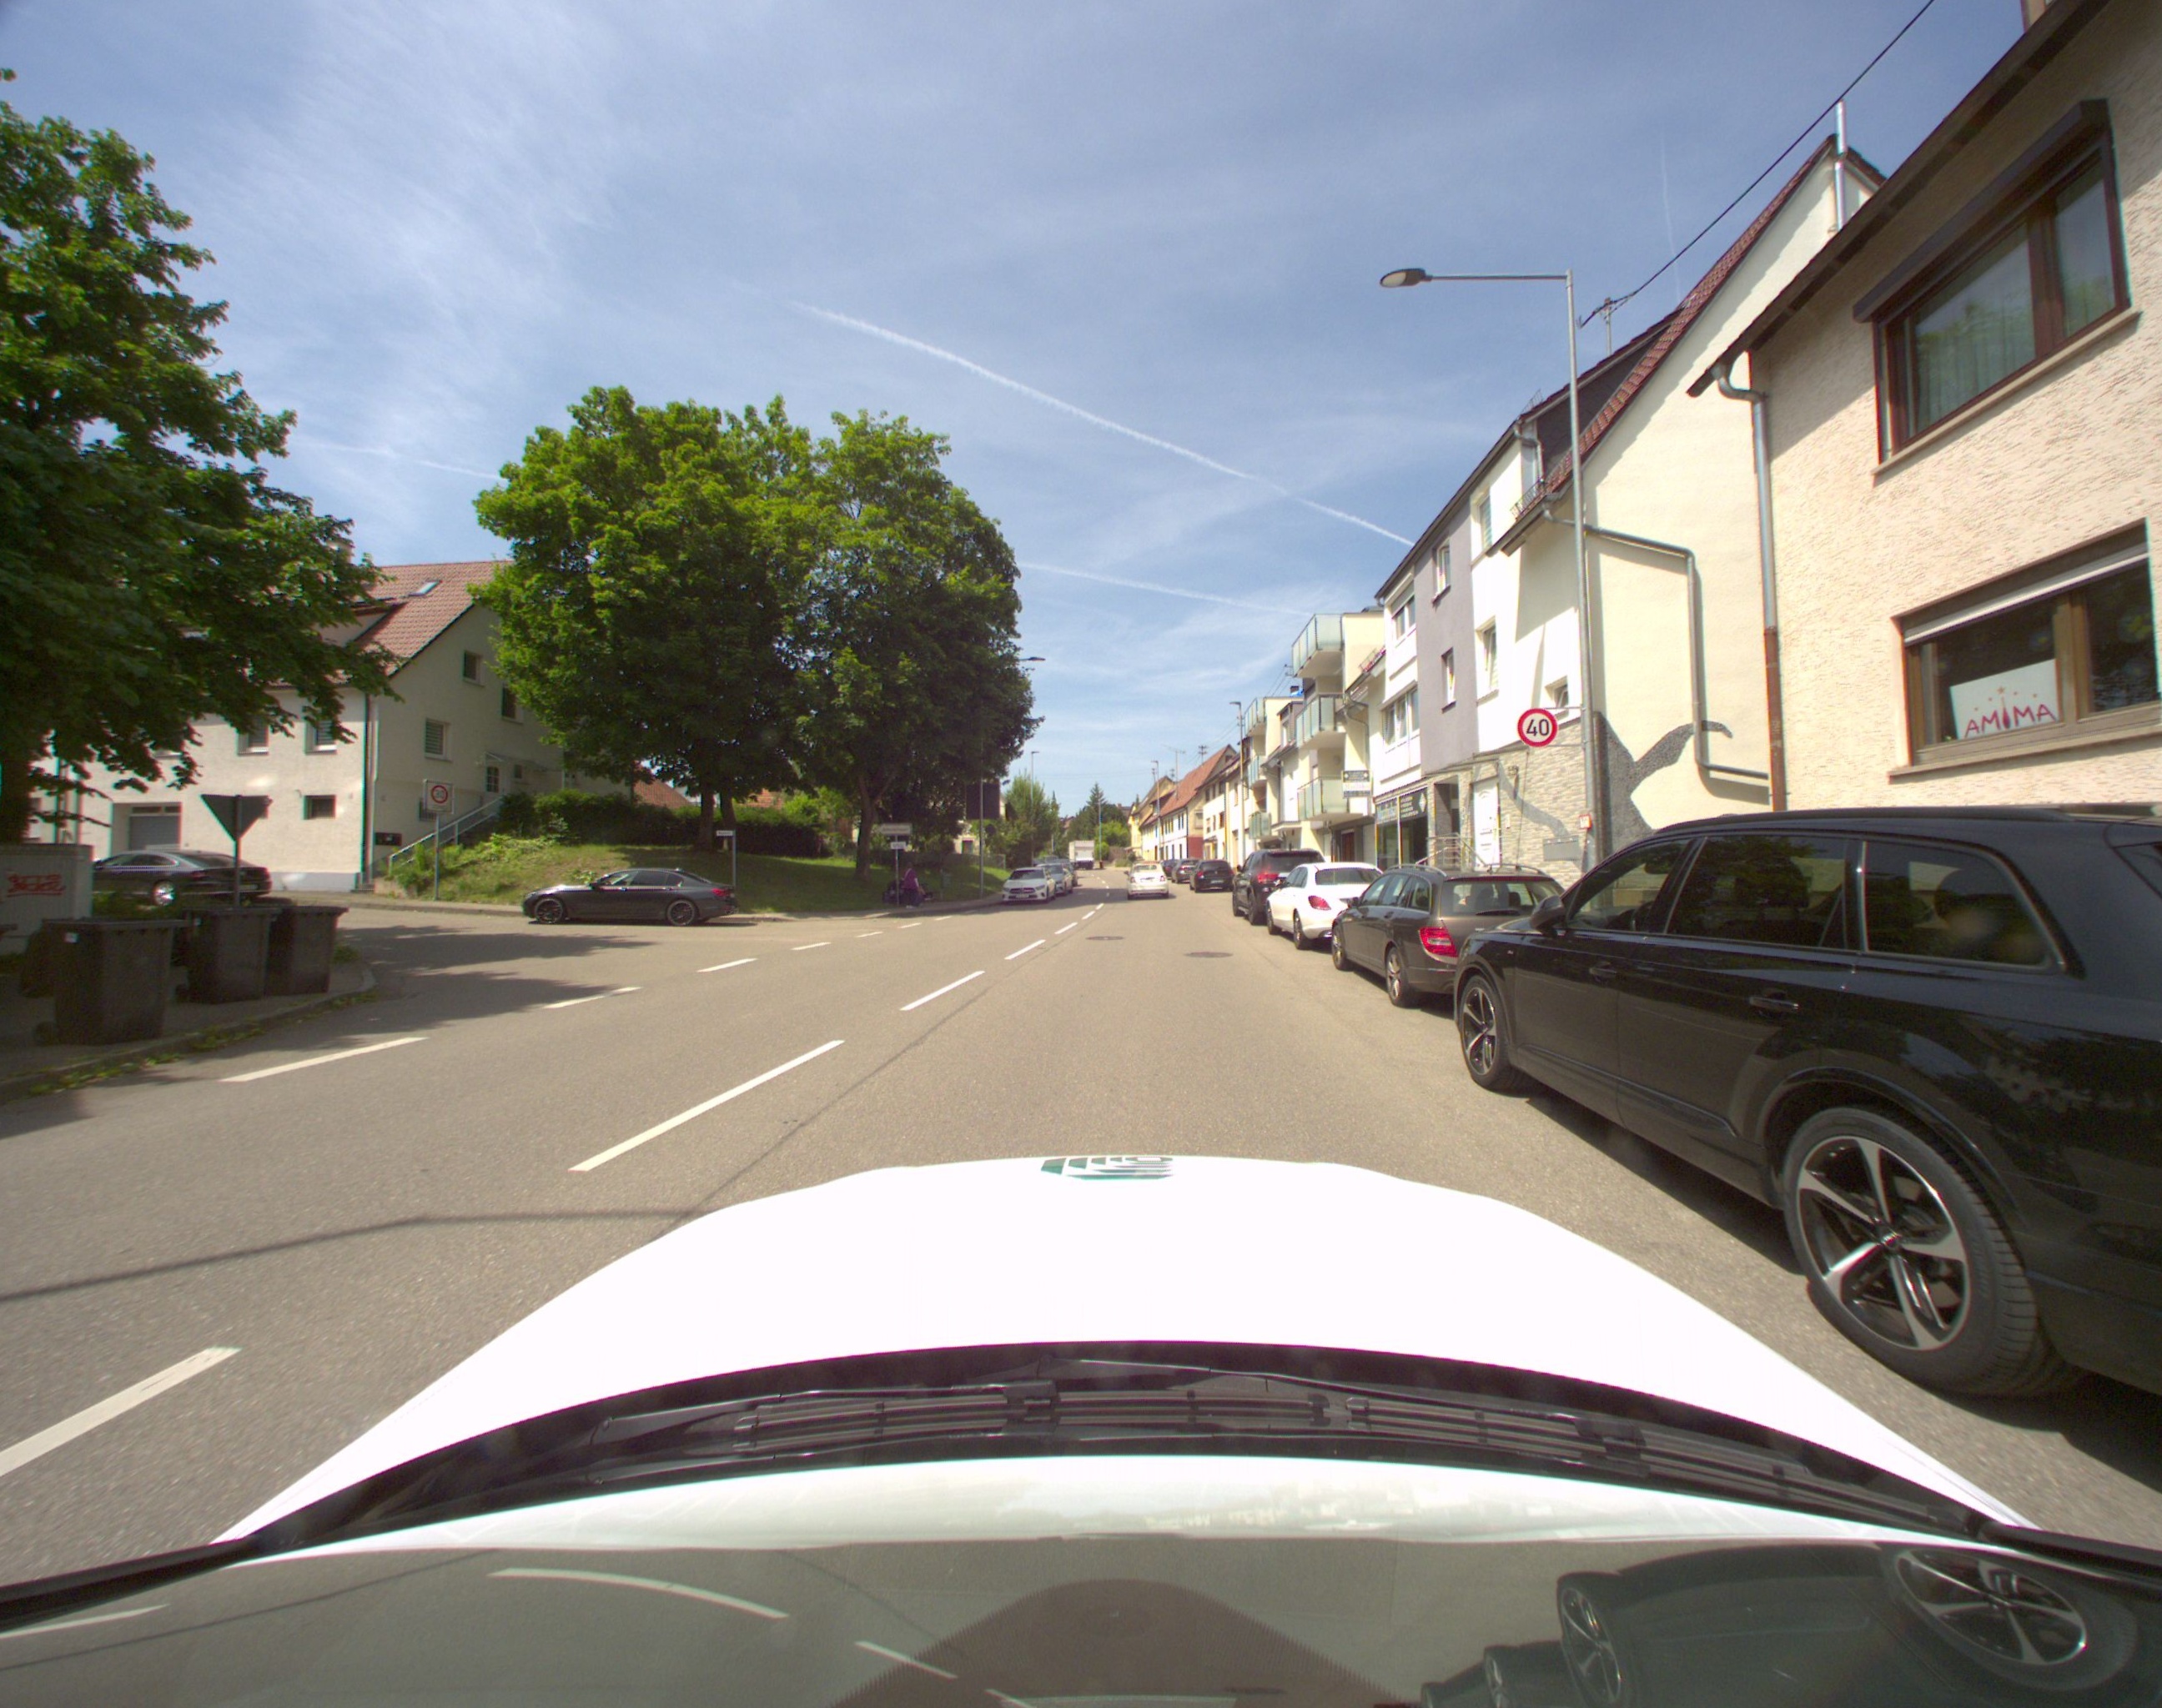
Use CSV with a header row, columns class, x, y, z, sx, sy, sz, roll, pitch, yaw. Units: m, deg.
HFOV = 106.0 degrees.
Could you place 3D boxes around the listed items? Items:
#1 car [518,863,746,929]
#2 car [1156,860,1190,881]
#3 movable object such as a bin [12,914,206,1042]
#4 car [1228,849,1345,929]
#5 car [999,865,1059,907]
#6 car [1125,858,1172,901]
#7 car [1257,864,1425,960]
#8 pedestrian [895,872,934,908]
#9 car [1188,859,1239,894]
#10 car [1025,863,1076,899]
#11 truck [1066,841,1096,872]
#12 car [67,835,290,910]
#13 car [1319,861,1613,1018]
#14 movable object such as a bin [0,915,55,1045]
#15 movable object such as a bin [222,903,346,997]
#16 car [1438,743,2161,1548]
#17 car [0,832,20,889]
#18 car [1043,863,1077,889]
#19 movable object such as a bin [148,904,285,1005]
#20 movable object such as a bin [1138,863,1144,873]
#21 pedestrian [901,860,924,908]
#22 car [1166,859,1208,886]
class,x,y,z,sx,sy,sz,roll,pitch,yaw
car,-11.564,1.087,21.360,4.781,1.479,1.990,3,-2,-14
car,6.305,1.112,56.196,1.662,1.352,4.182,-1,-1,-3
movable object such as a bin,-8.328,1.038,7.008,0.847,1.000,0.695,-1,-1,7
car,4.924,0.785,20.212,1.945,1.716,4.720,1,-1,3
car,-2.035,1.228,32.800,1.747,1.467,4.367,-3,-1,4
car,2.730,1.006,33.132,1.717,1.560,4.005,-3,-1,4
car,4.549,0.932,15.029,1.781,1.455,4.720,-1,-1,3
pedestrian,-6.047,1.297,29.636,1.229,1.269,0.648,0,-1,8
car,5.845,0.980,36.390,1.789,1.424,4.294,-2,-1,4
car,-1.397,1.265,39.018,1.764,1.527,4.228,-3,-1,6
truck,-0.034,0.393,104.198,3.064,3.774,7.851,-1,-1,-6
car,-23.502,0.469,21.295,3.964,1.684,1.913,3,-1,8
car,4.171,0.814,9.679,1.780,1.420,4.365,-1,-1,6
movable object such as a bin,-8.983,1.010,6.398,0.796,1.000,0.806,1,-1,7
movable object such as a bin,-9.229,1.096,9.454,0.767,1.000,0.610,3,-3,8
car,3.357,0.648,3.681,1.834,1.670,4.662,0,-1,5
car,-33.252,0.117,23.253,3.965,1.647,1.778,2,0,7
car,-1.270,1.336,50.784,1.798,1.424,4.929,-2,0,2
movable object such as a bin,-9.400,1.075,8.877,0.767,1.000,0.610,3,-3,7
movable object such as a bin,6.469,1.474,88.011,0.545,1.033,0.551,-4,0,-4
pedestrian,-5.761,1.016,27.821,0.730,1.617,0.626,1,-2,-12
car,6.092,1.047,47.234,1.788,1.403,4.411,-2,-1,0
